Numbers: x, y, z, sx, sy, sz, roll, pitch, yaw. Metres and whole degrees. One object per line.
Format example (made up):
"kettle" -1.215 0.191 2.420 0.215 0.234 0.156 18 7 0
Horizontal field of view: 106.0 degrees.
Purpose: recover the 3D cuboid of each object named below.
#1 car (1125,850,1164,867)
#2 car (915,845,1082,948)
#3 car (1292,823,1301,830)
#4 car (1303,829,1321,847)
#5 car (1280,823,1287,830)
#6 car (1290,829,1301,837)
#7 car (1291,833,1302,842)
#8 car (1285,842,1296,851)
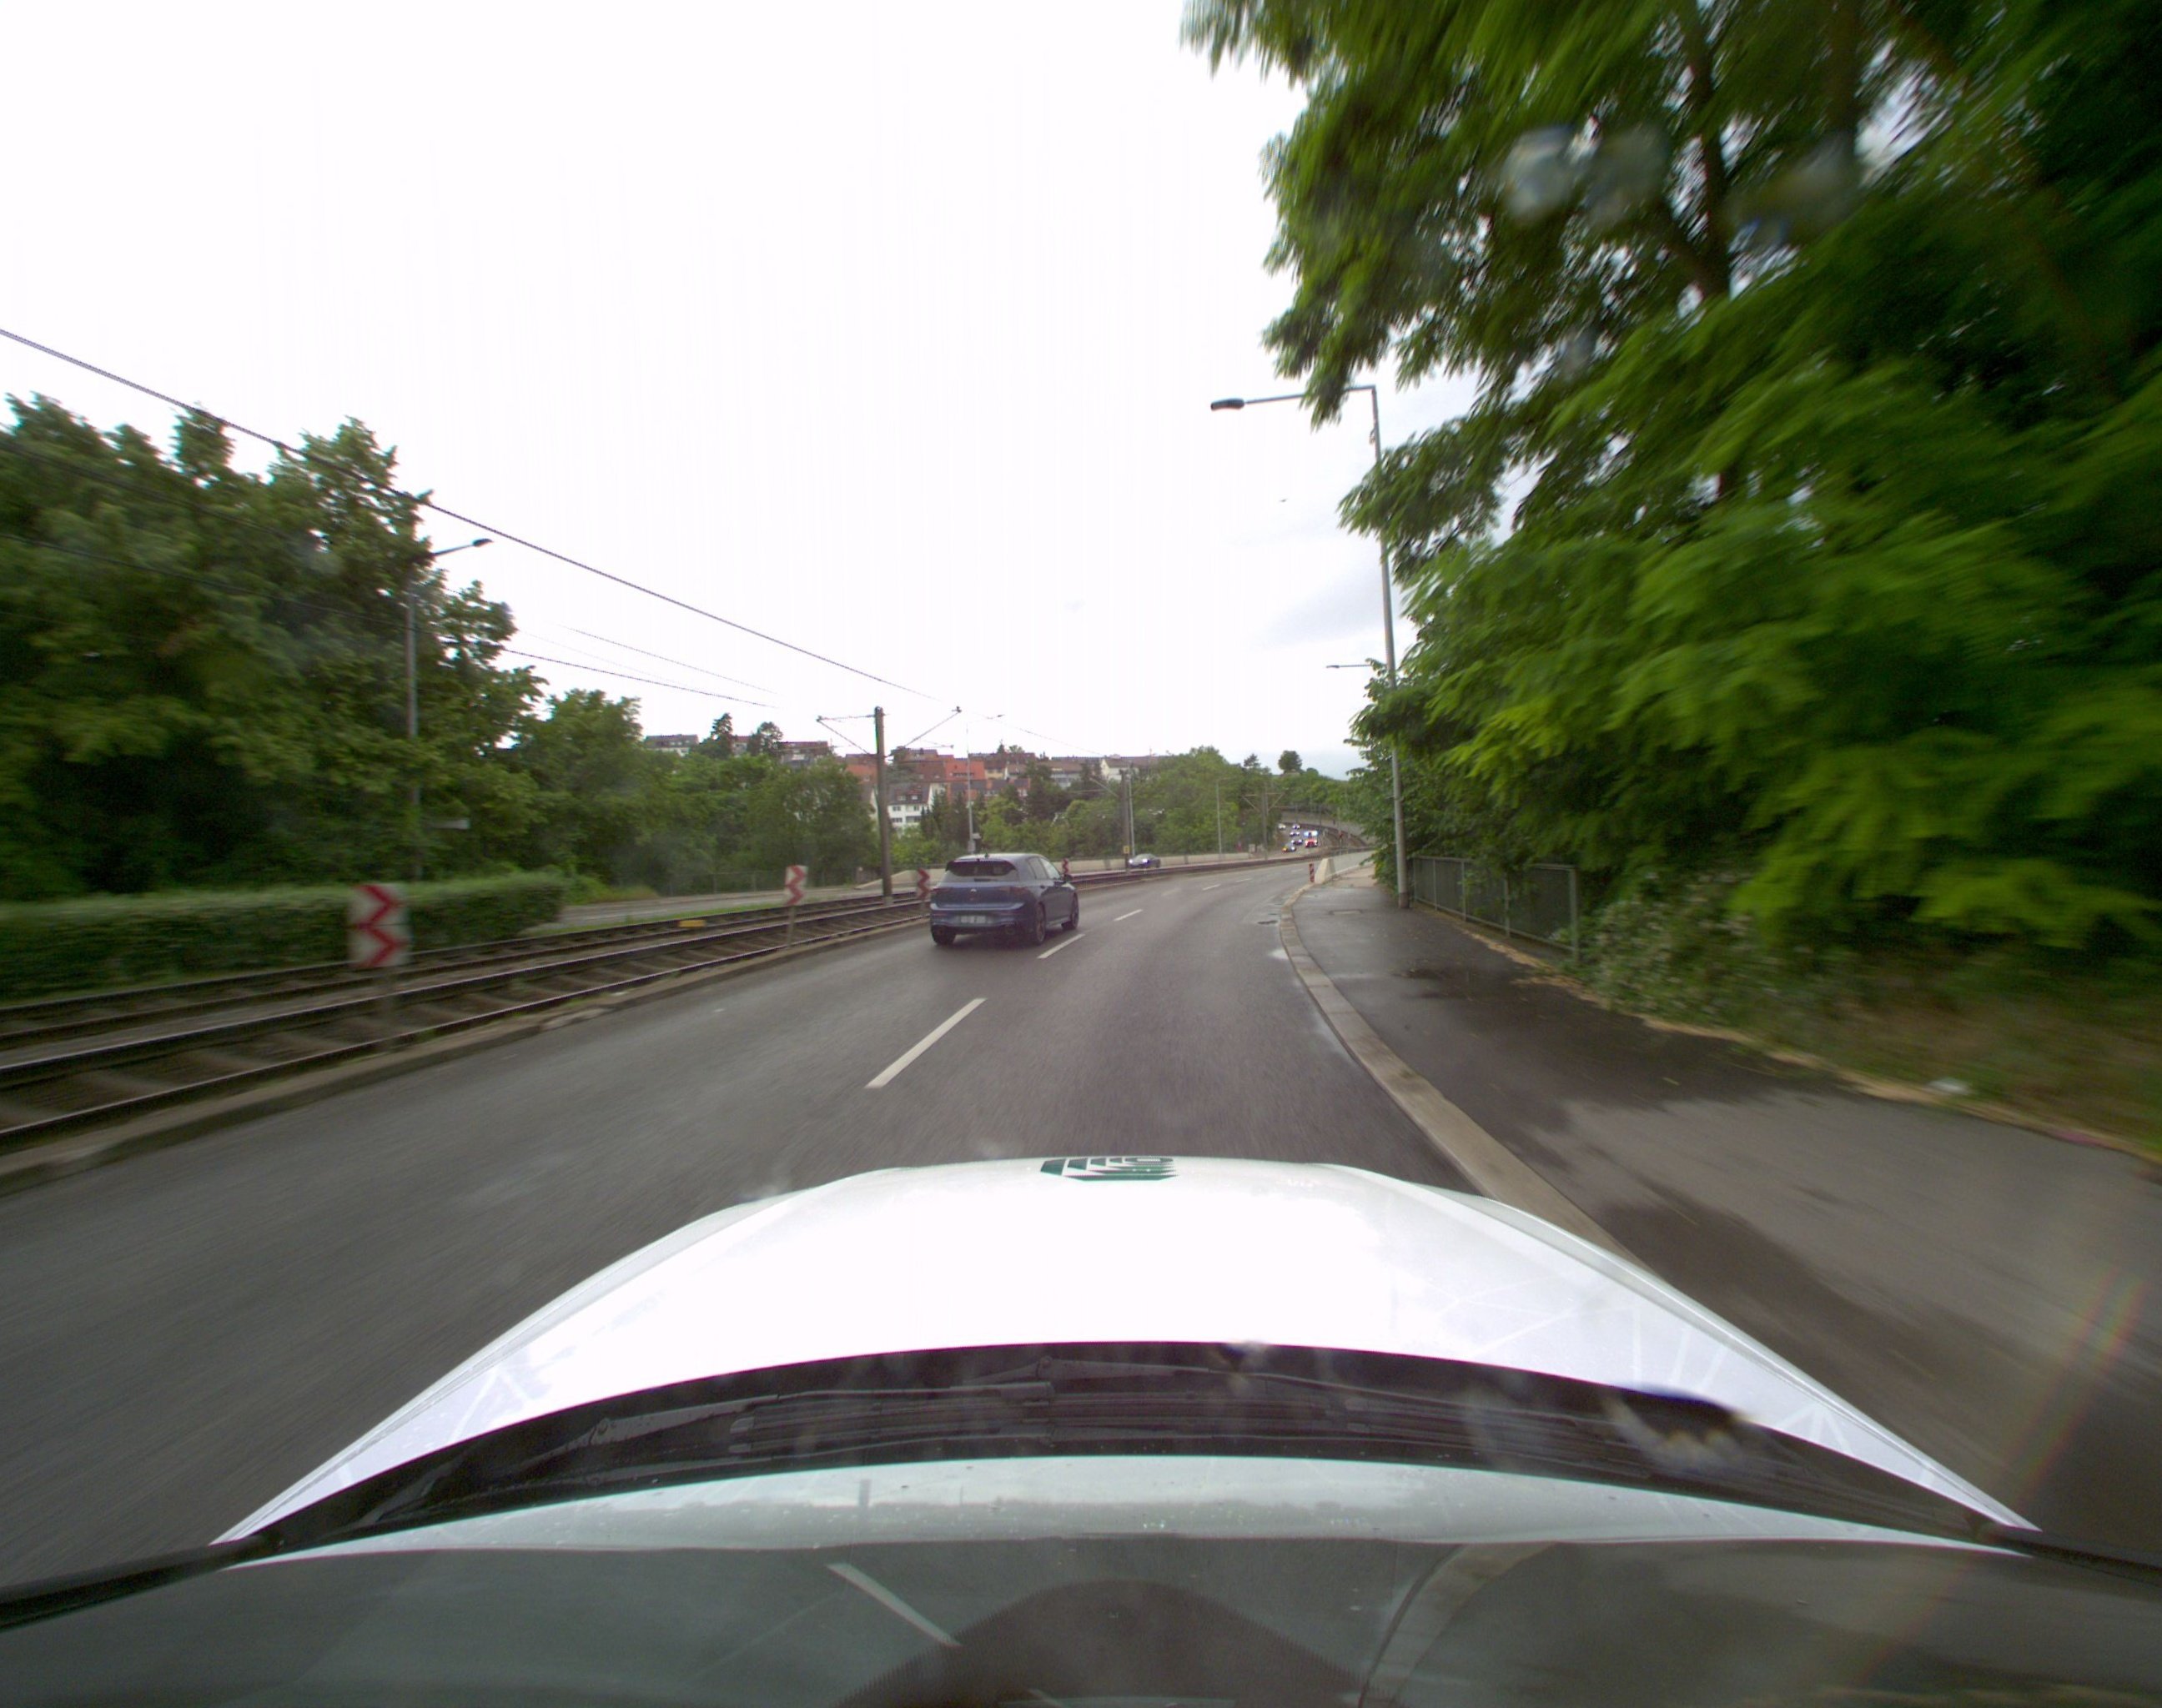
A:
"car" 5.683 0.391 72.359 1.819 1.314 4.646 -4 -1 26
"car" -1.237 0.627 14.056 1.752 1.501 4.012 -1 0 11
"car" 56.299 -7.177 212.744 1.594 1.493 3.019 -4 1 2
"car" 42.207 -2.840 149.041 2.375 3.115 6.375 -2 0 10
"car" 54.379 -7.394 218.834 1.808 1.515 4.547 -3 0 15
"car" 49.123 -4.741 186.704 1.957 1.597 5.199 -3 -1 10
"car" 41.905 -3.214 158.275 1.883 1.597 4.750 -4 0 13
"car" 36.188 -1.387 140.503 1.803 1.436 4.760 -2 0 15
